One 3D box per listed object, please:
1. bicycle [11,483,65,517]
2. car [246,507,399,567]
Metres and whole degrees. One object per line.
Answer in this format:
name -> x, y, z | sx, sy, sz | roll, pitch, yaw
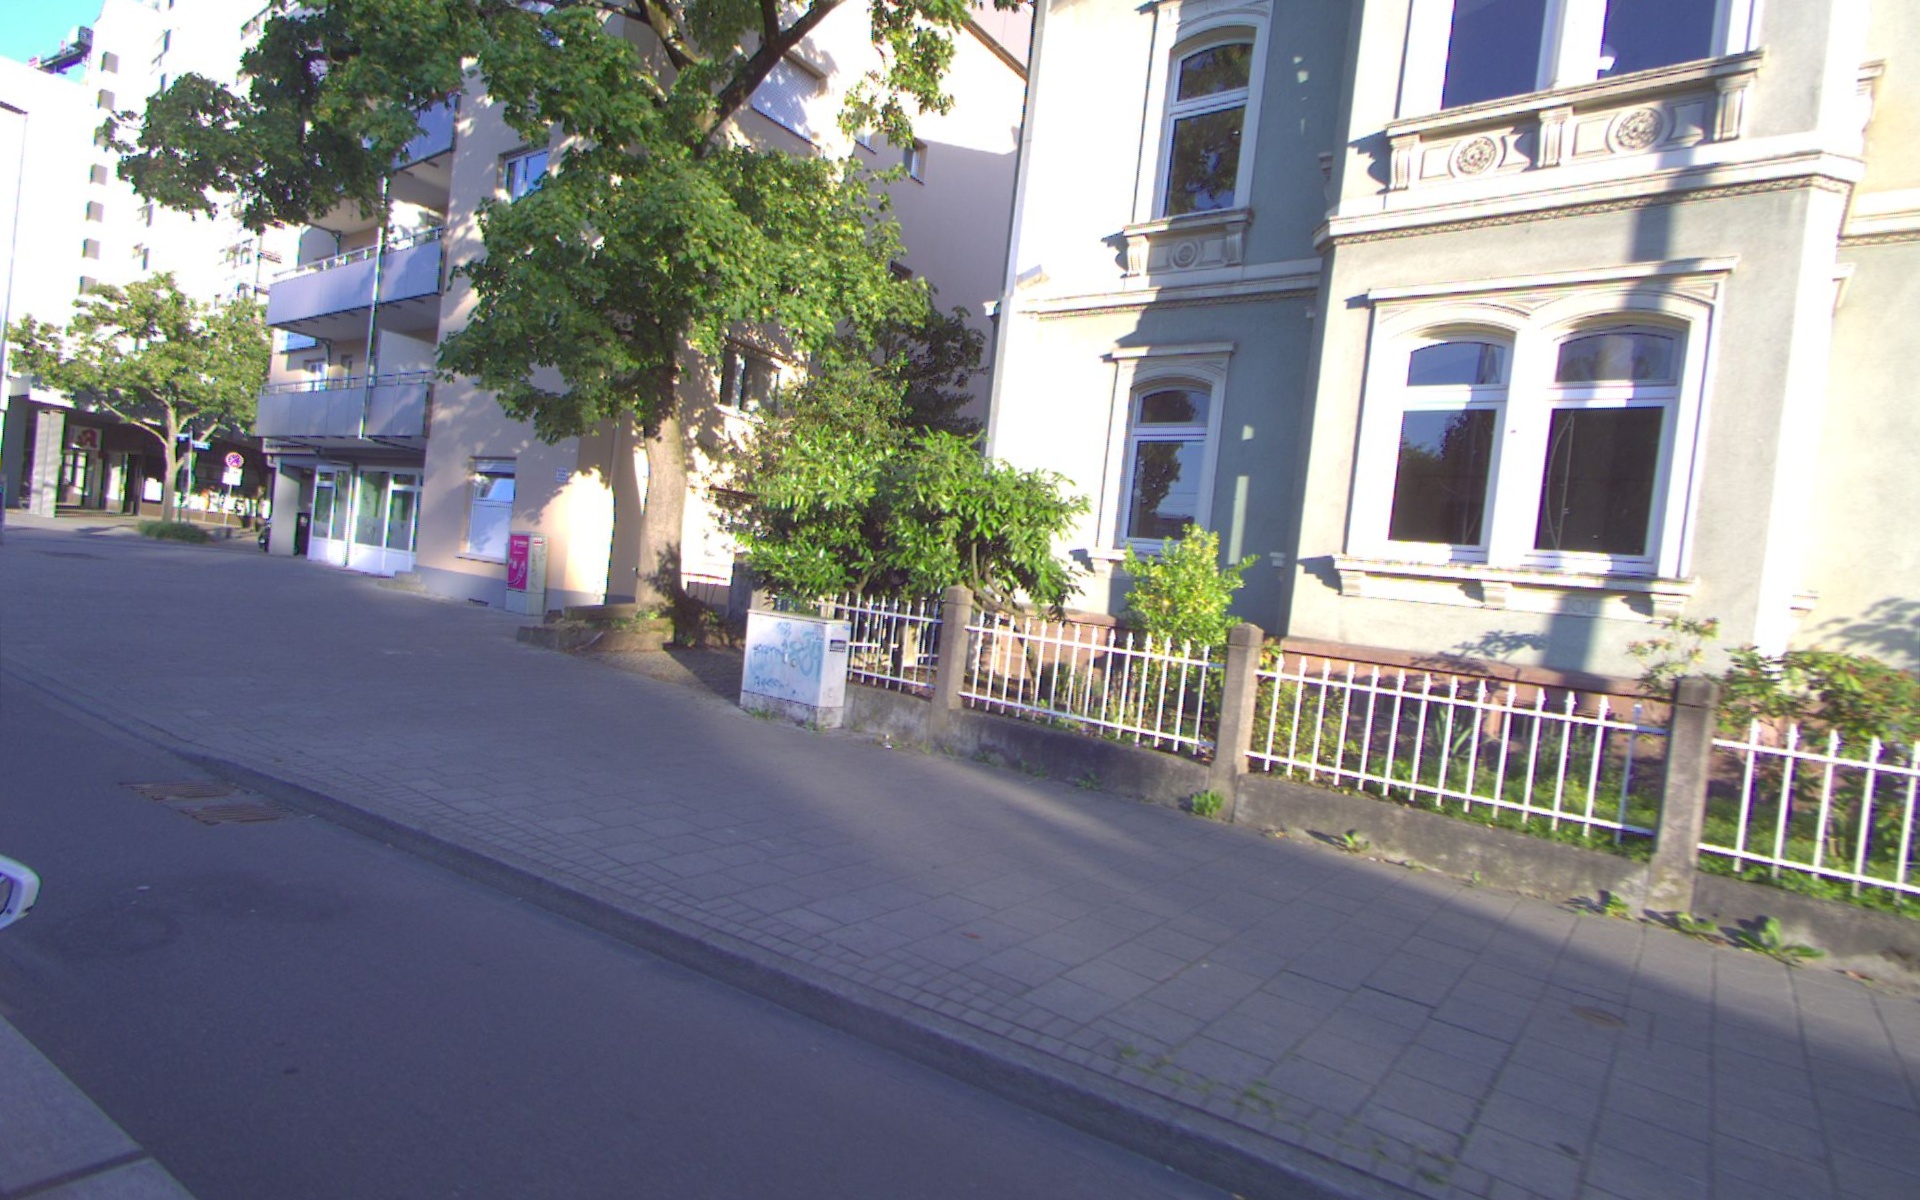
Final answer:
bicycle -> -39.065, -4.249, 42.627 | 1.985, 1.162, 0.691 | 7, -2, 17
car -> -21.512, -2.090, 34.071 | 1.682, 1.605, 4.033 | 4, 0, 40
